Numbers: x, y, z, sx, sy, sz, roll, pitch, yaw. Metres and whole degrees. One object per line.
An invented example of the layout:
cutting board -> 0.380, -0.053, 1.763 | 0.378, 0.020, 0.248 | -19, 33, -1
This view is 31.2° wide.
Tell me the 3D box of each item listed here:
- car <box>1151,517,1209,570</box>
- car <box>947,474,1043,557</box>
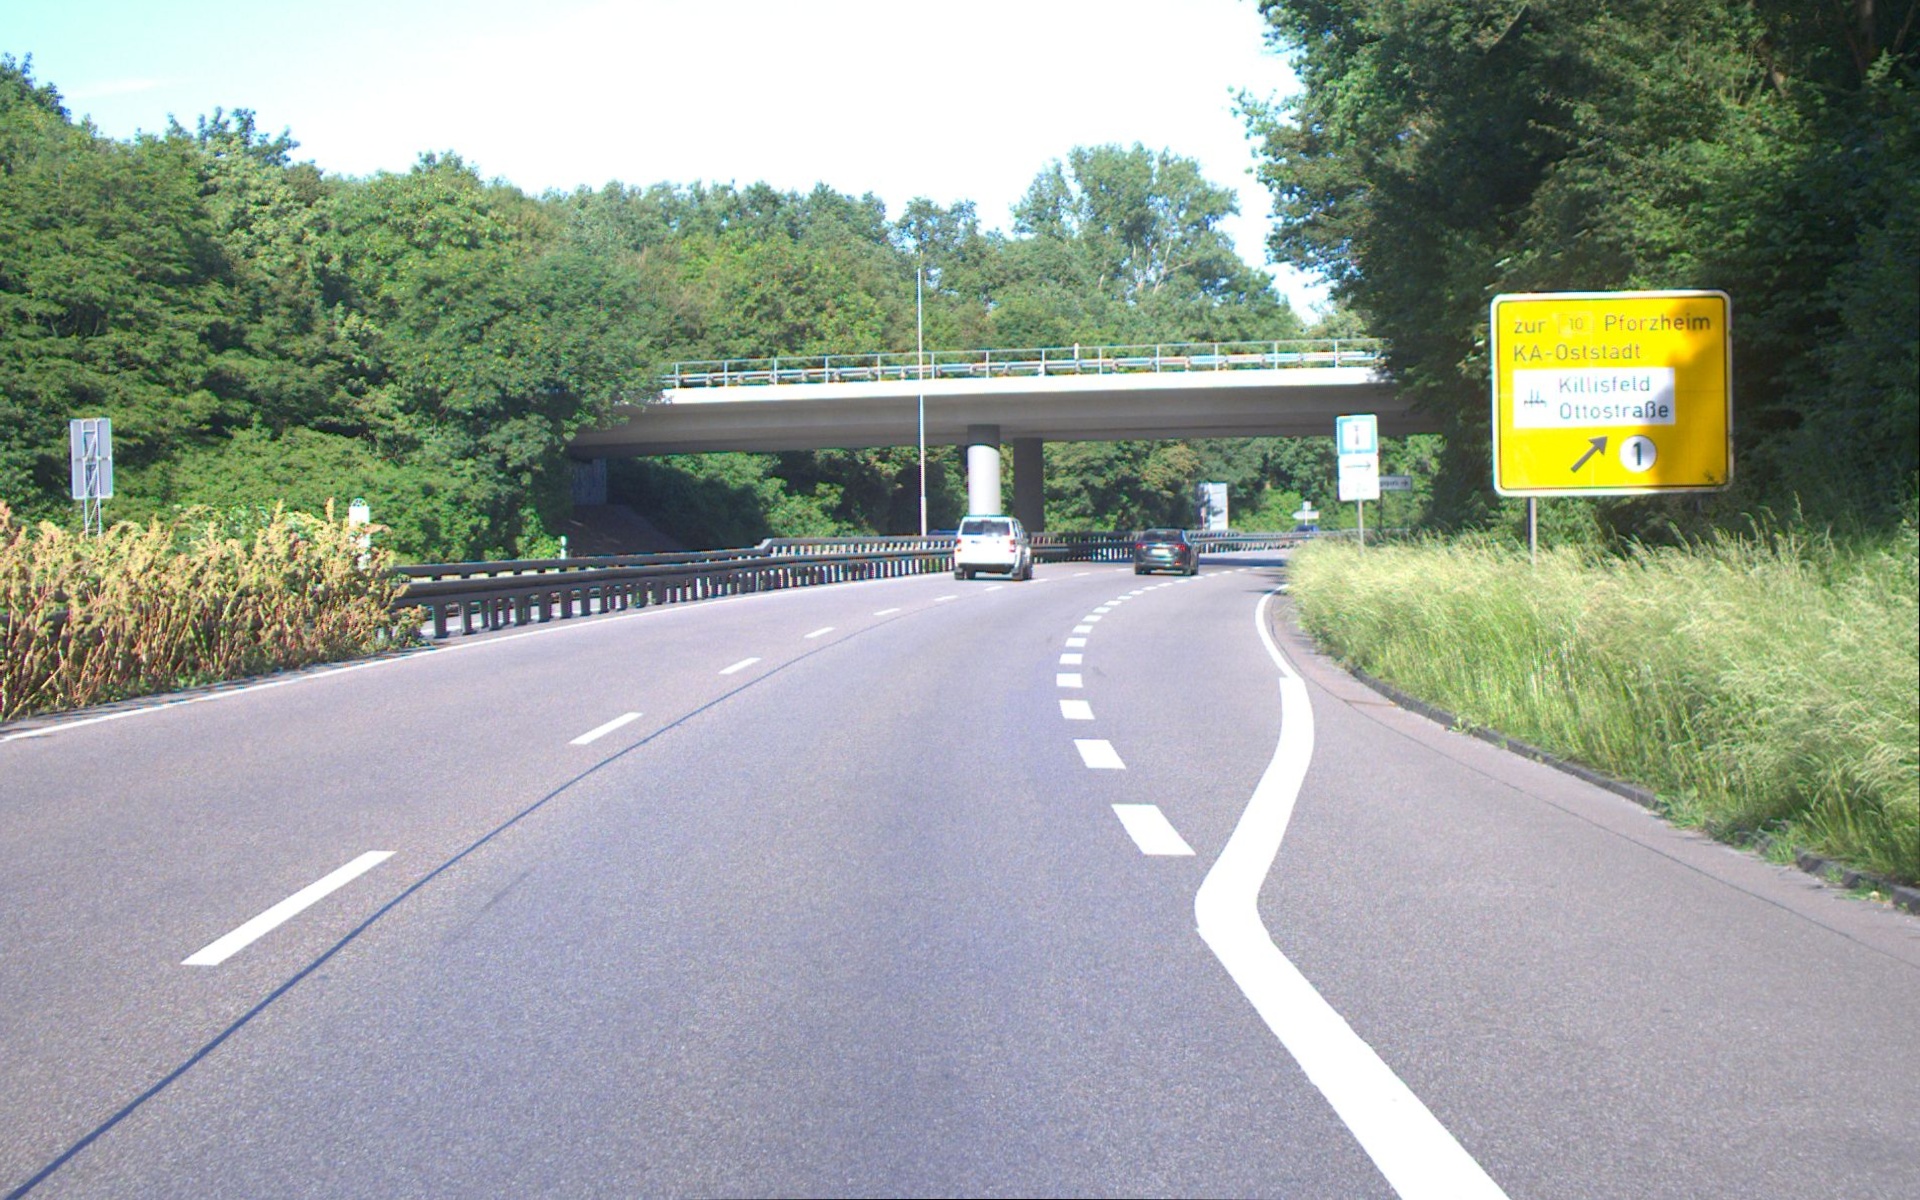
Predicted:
car -> 7.078, -1.817, 110.307 | 1.739, 1.656, 3.945 | 0, 1, 5
car -> 1.001, -2.339, 95.487 | 1.994, 2.269, 3.998 | 0, 1, 11
